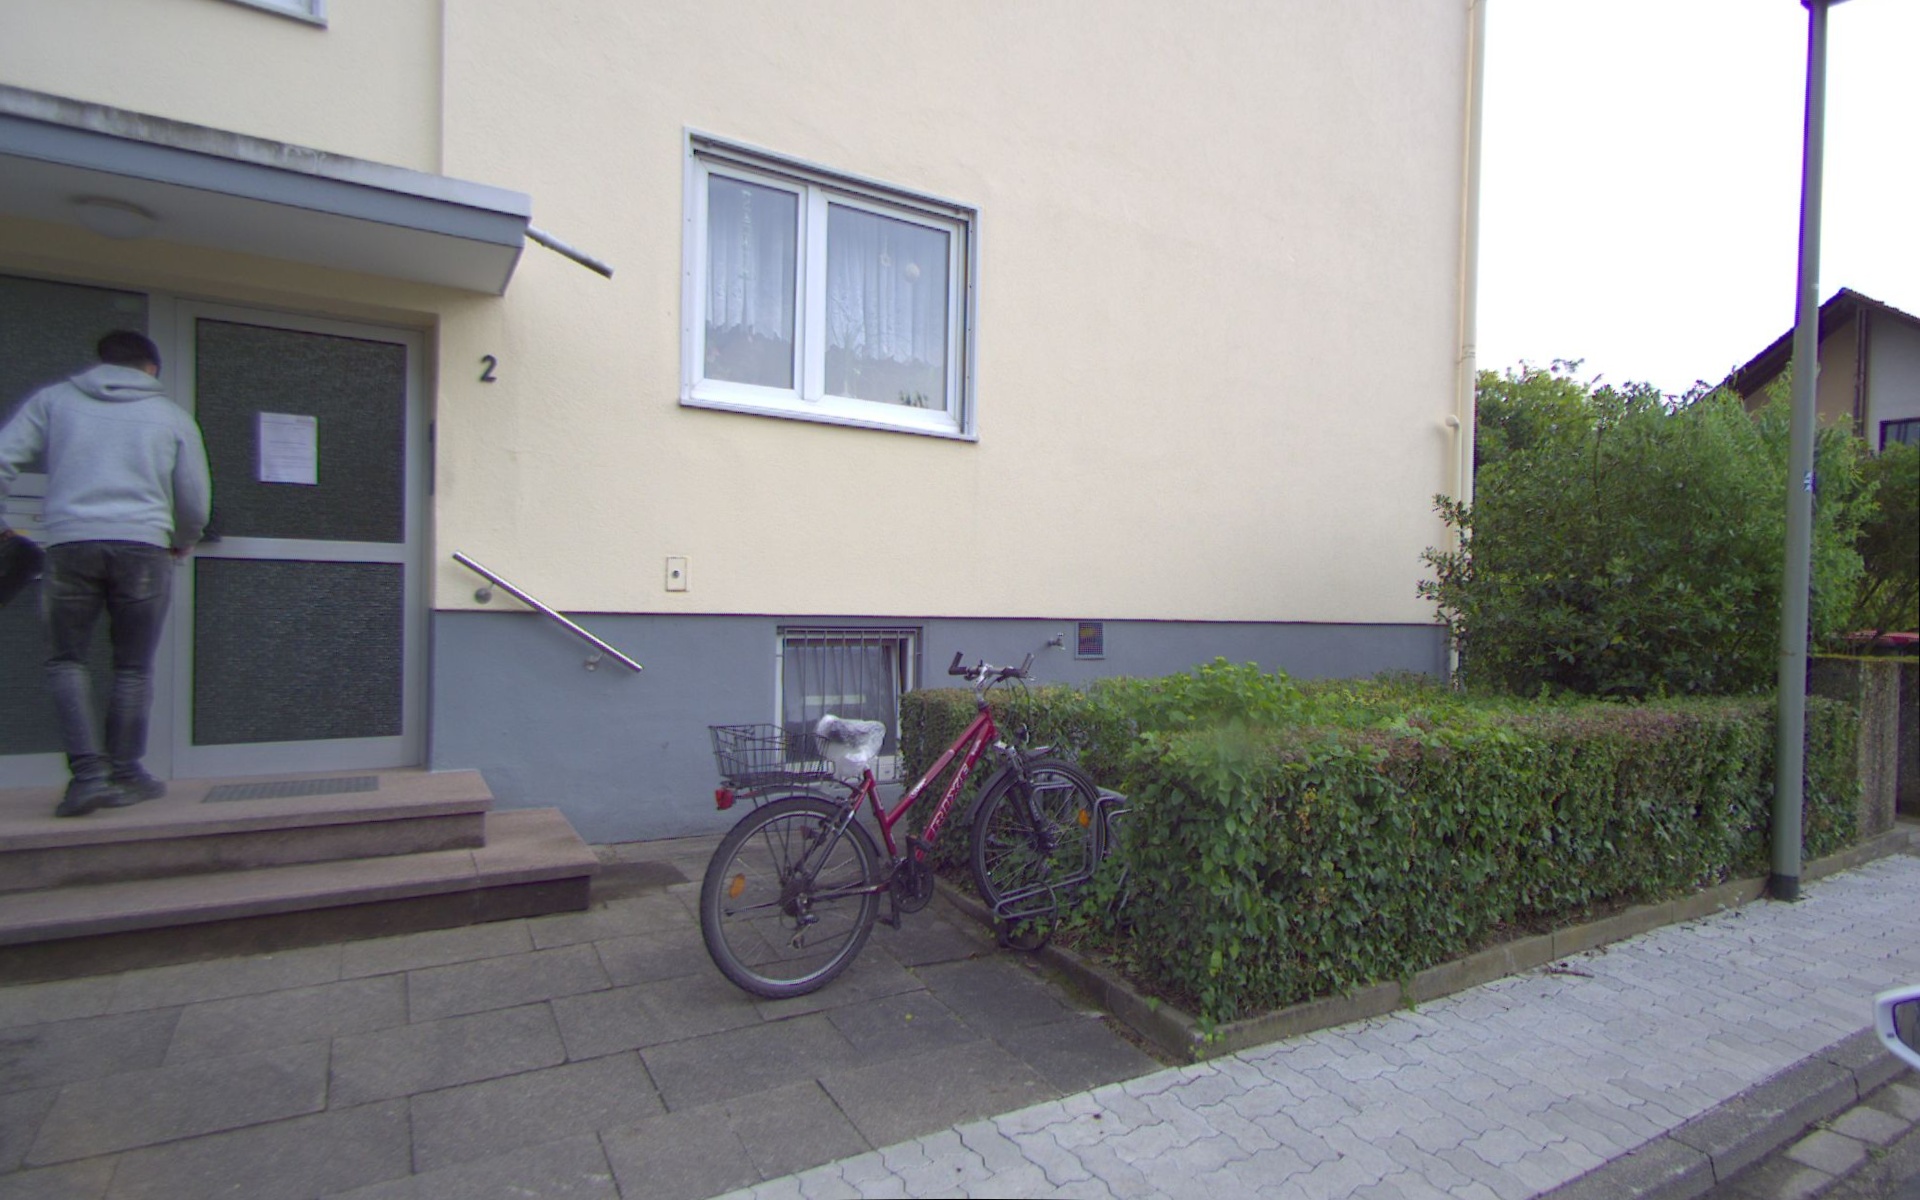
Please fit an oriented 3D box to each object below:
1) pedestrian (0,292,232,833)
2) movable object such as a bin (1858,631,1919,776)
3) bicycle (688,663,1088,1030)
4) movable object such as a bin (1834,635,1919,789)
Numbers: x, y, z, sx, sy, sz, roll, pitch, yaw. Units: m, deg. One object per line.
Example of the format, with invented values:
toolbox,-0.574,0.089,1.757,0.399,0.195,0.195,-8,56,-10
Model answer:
pedestrian,-3.163,-0.121,3.704,0.749,1.772,0.674,1,1,-37
movable object such as a bin,8.123,0.871,8.619,0.510,1.203,0.502,1,-1,-32
bicycle,-0.213,0.787,3.569,1.402,1.090,0.316,2,1,-31
movable object such as a bin,7.602,0.892,8.259,0.510,1.203,0.502,1,-1,-32
